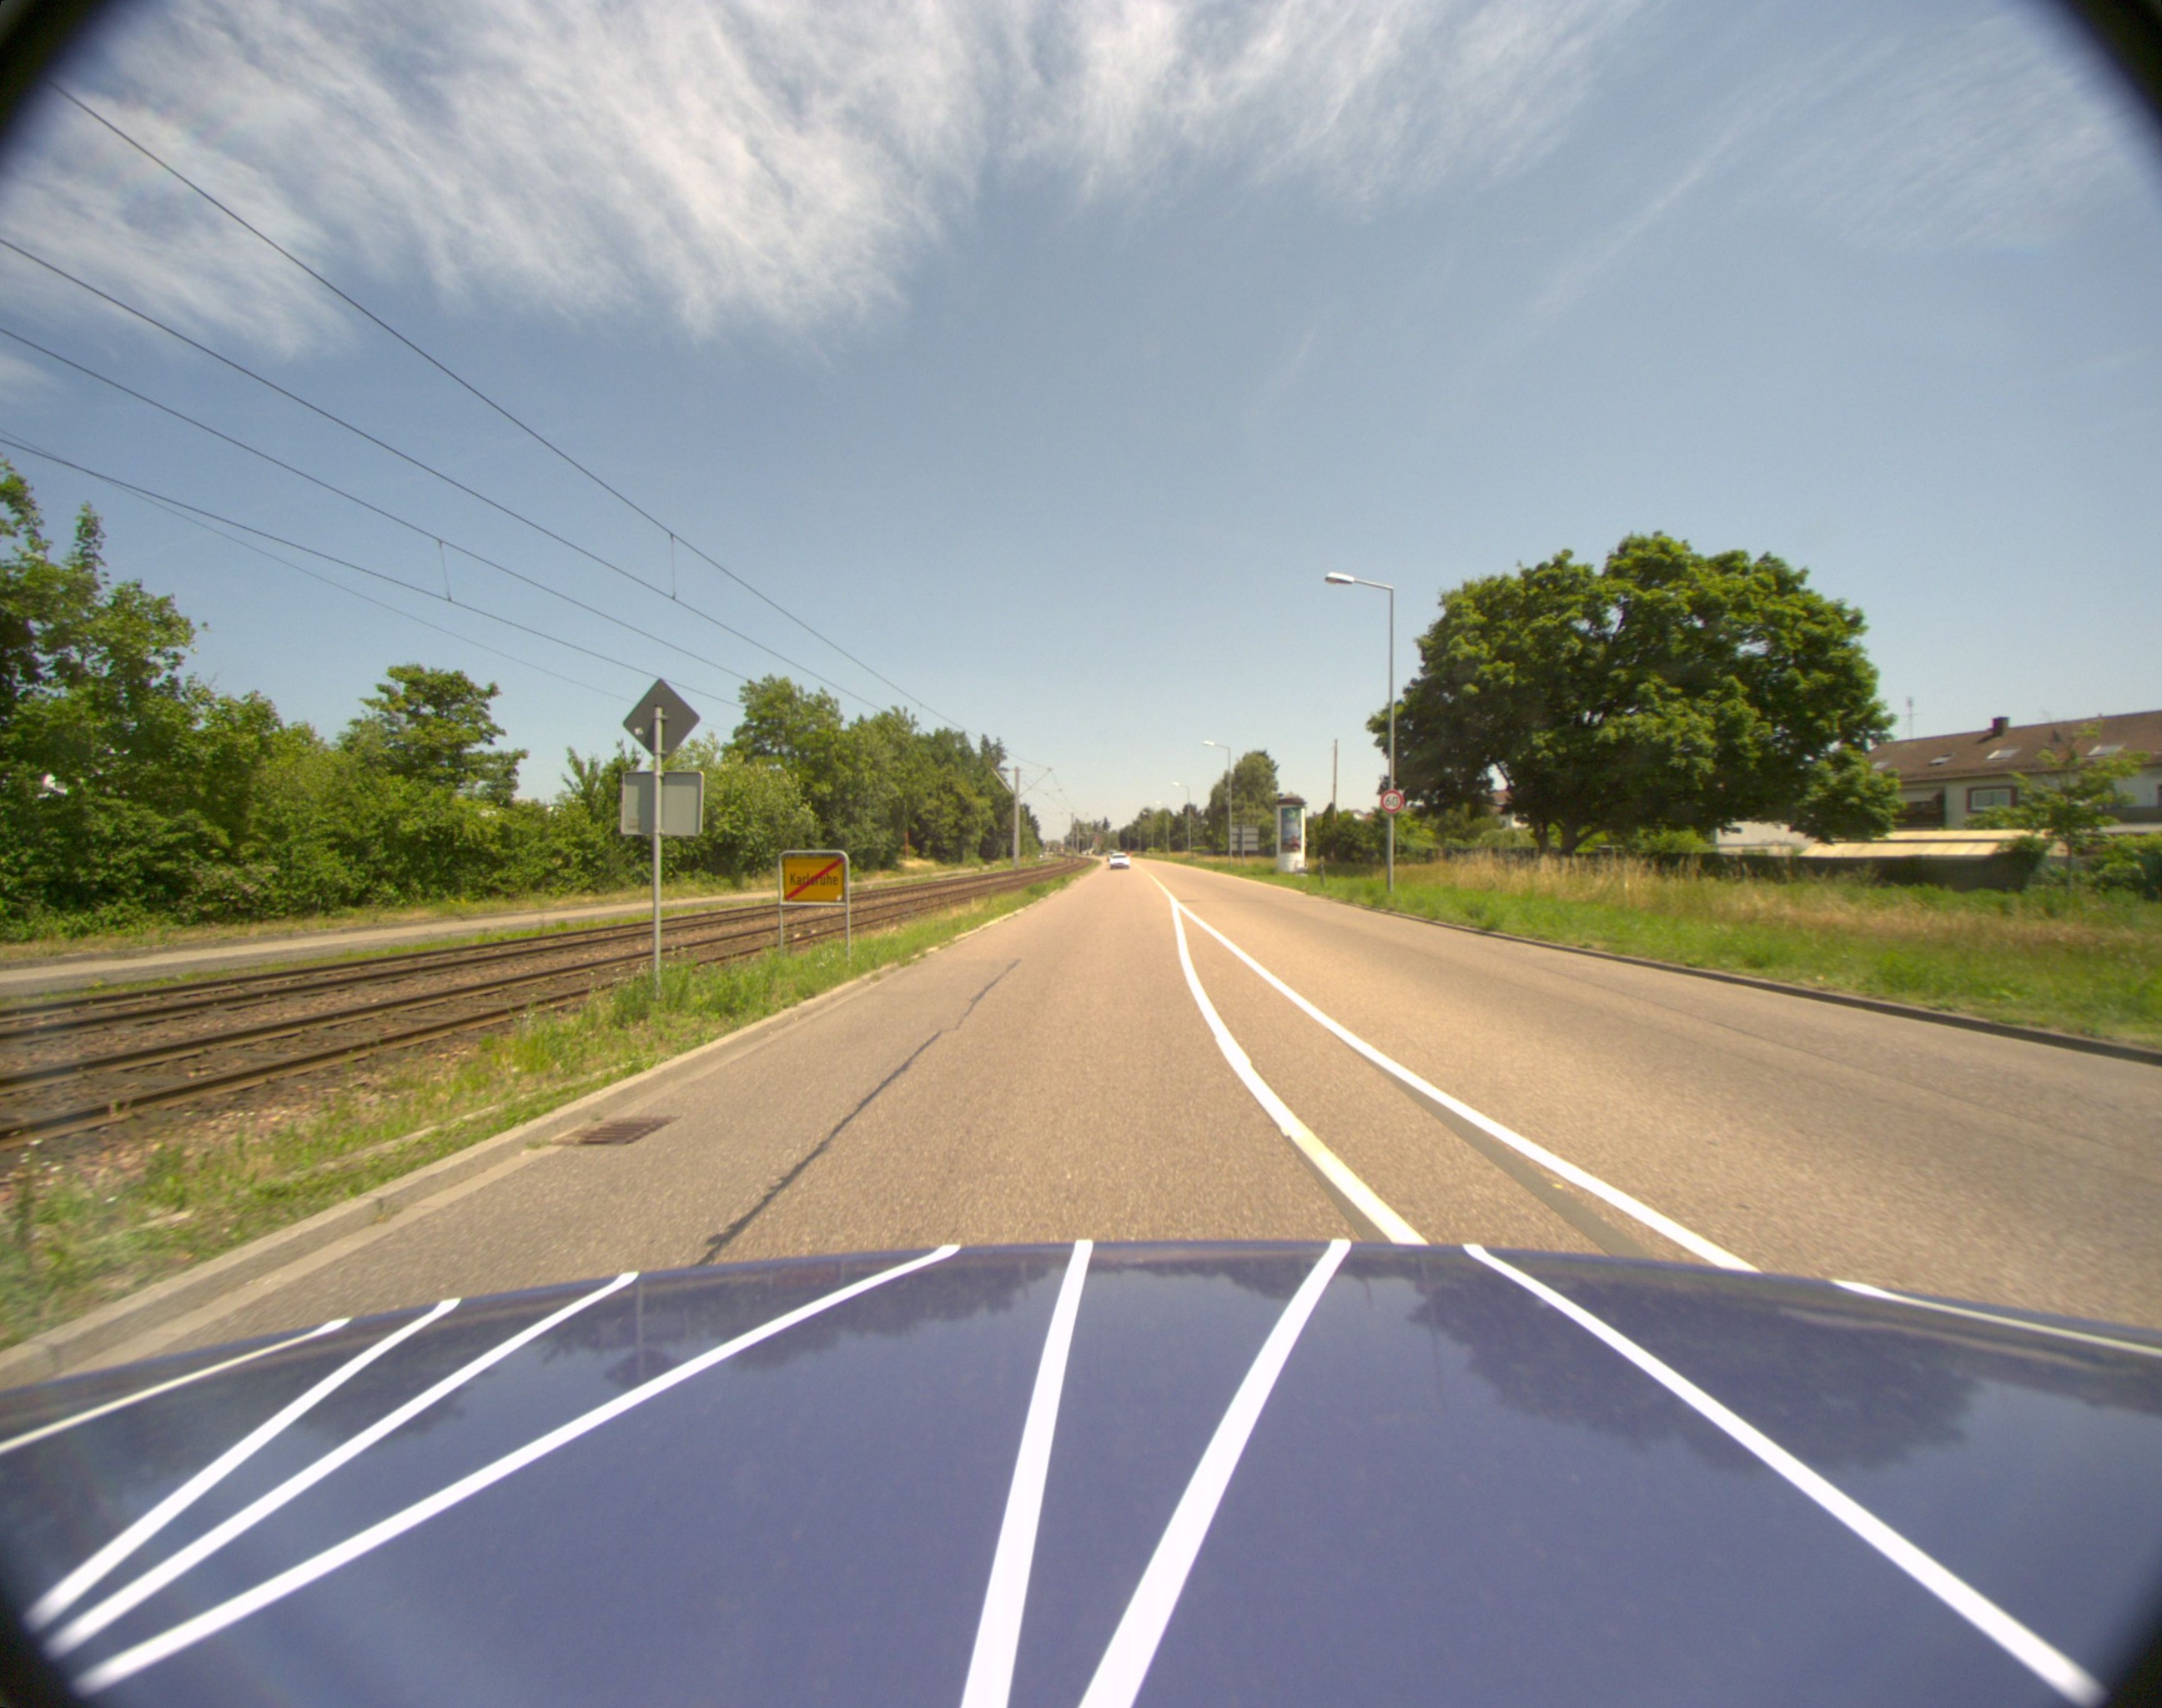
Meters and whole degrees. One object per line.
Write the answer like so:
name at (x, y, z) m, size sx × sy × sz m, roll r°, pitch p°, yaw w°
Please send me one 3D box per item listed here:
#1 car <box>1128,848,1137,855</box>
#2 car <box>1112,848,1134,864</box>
car at (11.218, -0.613, 166.041) m, size 1.683 × 1.391 × 4.000 m, roll -2°, pitch 1°, yaw 1°
car at (3.973, 0.183, 71.964) m, size 1.954 × 1.467 × 4.362 m, roll -1°, pitch 1°, yaw 4°
